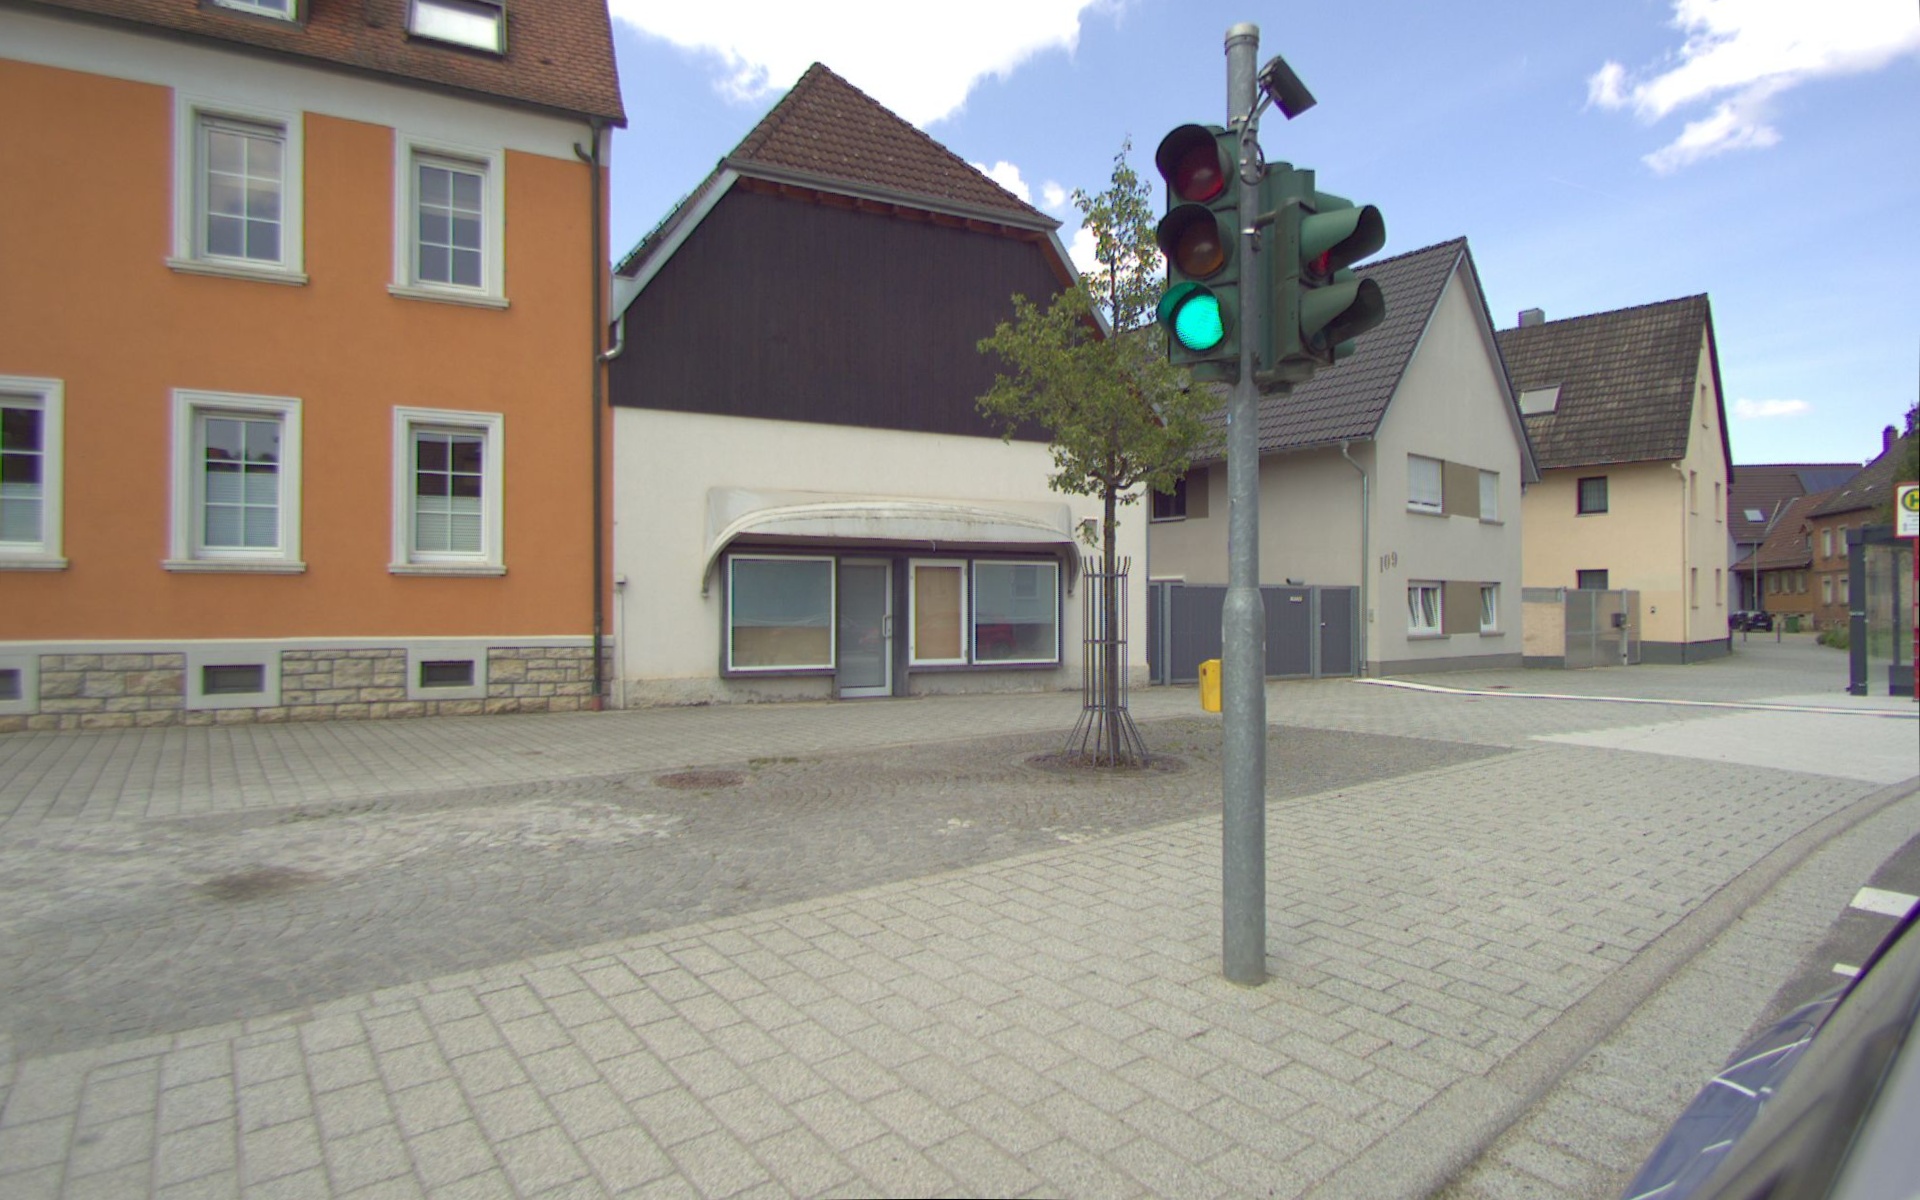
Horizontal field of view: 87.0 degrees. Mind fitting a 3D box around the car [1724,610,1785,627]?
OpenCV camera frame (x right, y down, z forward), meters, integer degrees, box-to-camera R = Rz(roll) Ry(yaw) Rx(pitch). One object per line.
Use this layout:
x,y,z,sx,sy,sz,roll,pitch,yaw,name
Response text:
52.131,1.201,66.470,1.779,1.073,3.978,0,0,17,car
